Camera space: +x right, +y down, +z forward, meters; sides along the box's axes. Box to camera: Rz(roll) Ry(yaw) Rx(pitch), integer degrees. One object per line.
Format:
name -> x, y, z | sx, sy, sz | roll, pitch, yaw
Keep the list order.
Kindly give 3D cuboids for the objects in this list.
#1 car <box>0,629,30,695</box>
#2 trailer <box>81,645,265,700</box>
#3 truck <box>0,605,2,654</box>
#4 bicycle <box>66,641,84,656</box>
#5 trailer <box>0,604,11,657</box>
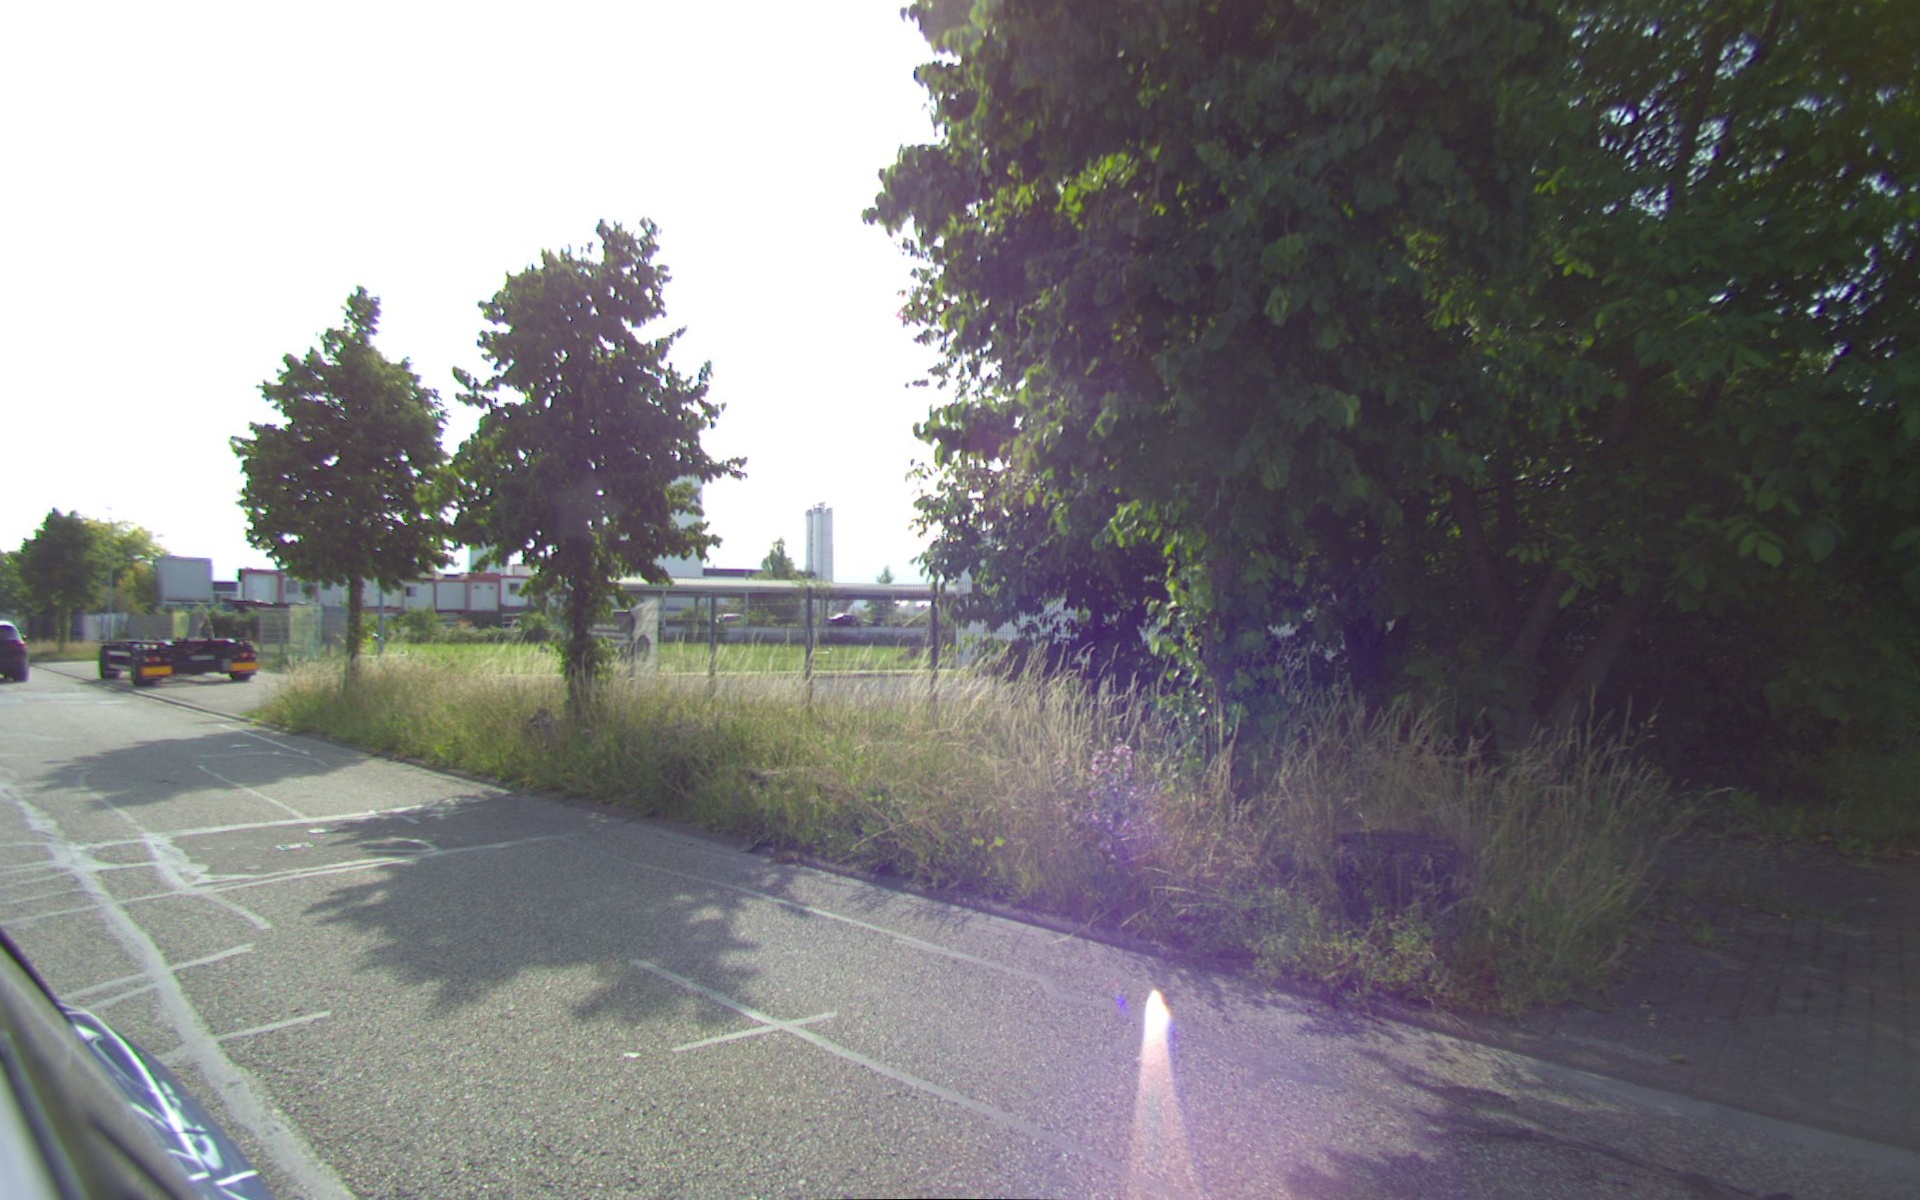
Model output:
car -> -26.986, 1.662, 27.678 | 4.225, 1.728, 1.836 | -2, -5, 42
trailer -> -22.123, 1.907, 28.189 | 9.361, 1.193, 2.555 | -2, -1, 43
truck -> -81.705, 2.532, 83.988 | 9.636, 3.914, 2.683 | -2, -2, 43
bicycle -> -57.482, 3.141, 65.724 | 2.452, 0.980, 0.556 | -2, -3, 42
trailer -> -74.697, 2.384, 77.294 | 9.766, 3.914, 2.670 | -2, -2, 44
